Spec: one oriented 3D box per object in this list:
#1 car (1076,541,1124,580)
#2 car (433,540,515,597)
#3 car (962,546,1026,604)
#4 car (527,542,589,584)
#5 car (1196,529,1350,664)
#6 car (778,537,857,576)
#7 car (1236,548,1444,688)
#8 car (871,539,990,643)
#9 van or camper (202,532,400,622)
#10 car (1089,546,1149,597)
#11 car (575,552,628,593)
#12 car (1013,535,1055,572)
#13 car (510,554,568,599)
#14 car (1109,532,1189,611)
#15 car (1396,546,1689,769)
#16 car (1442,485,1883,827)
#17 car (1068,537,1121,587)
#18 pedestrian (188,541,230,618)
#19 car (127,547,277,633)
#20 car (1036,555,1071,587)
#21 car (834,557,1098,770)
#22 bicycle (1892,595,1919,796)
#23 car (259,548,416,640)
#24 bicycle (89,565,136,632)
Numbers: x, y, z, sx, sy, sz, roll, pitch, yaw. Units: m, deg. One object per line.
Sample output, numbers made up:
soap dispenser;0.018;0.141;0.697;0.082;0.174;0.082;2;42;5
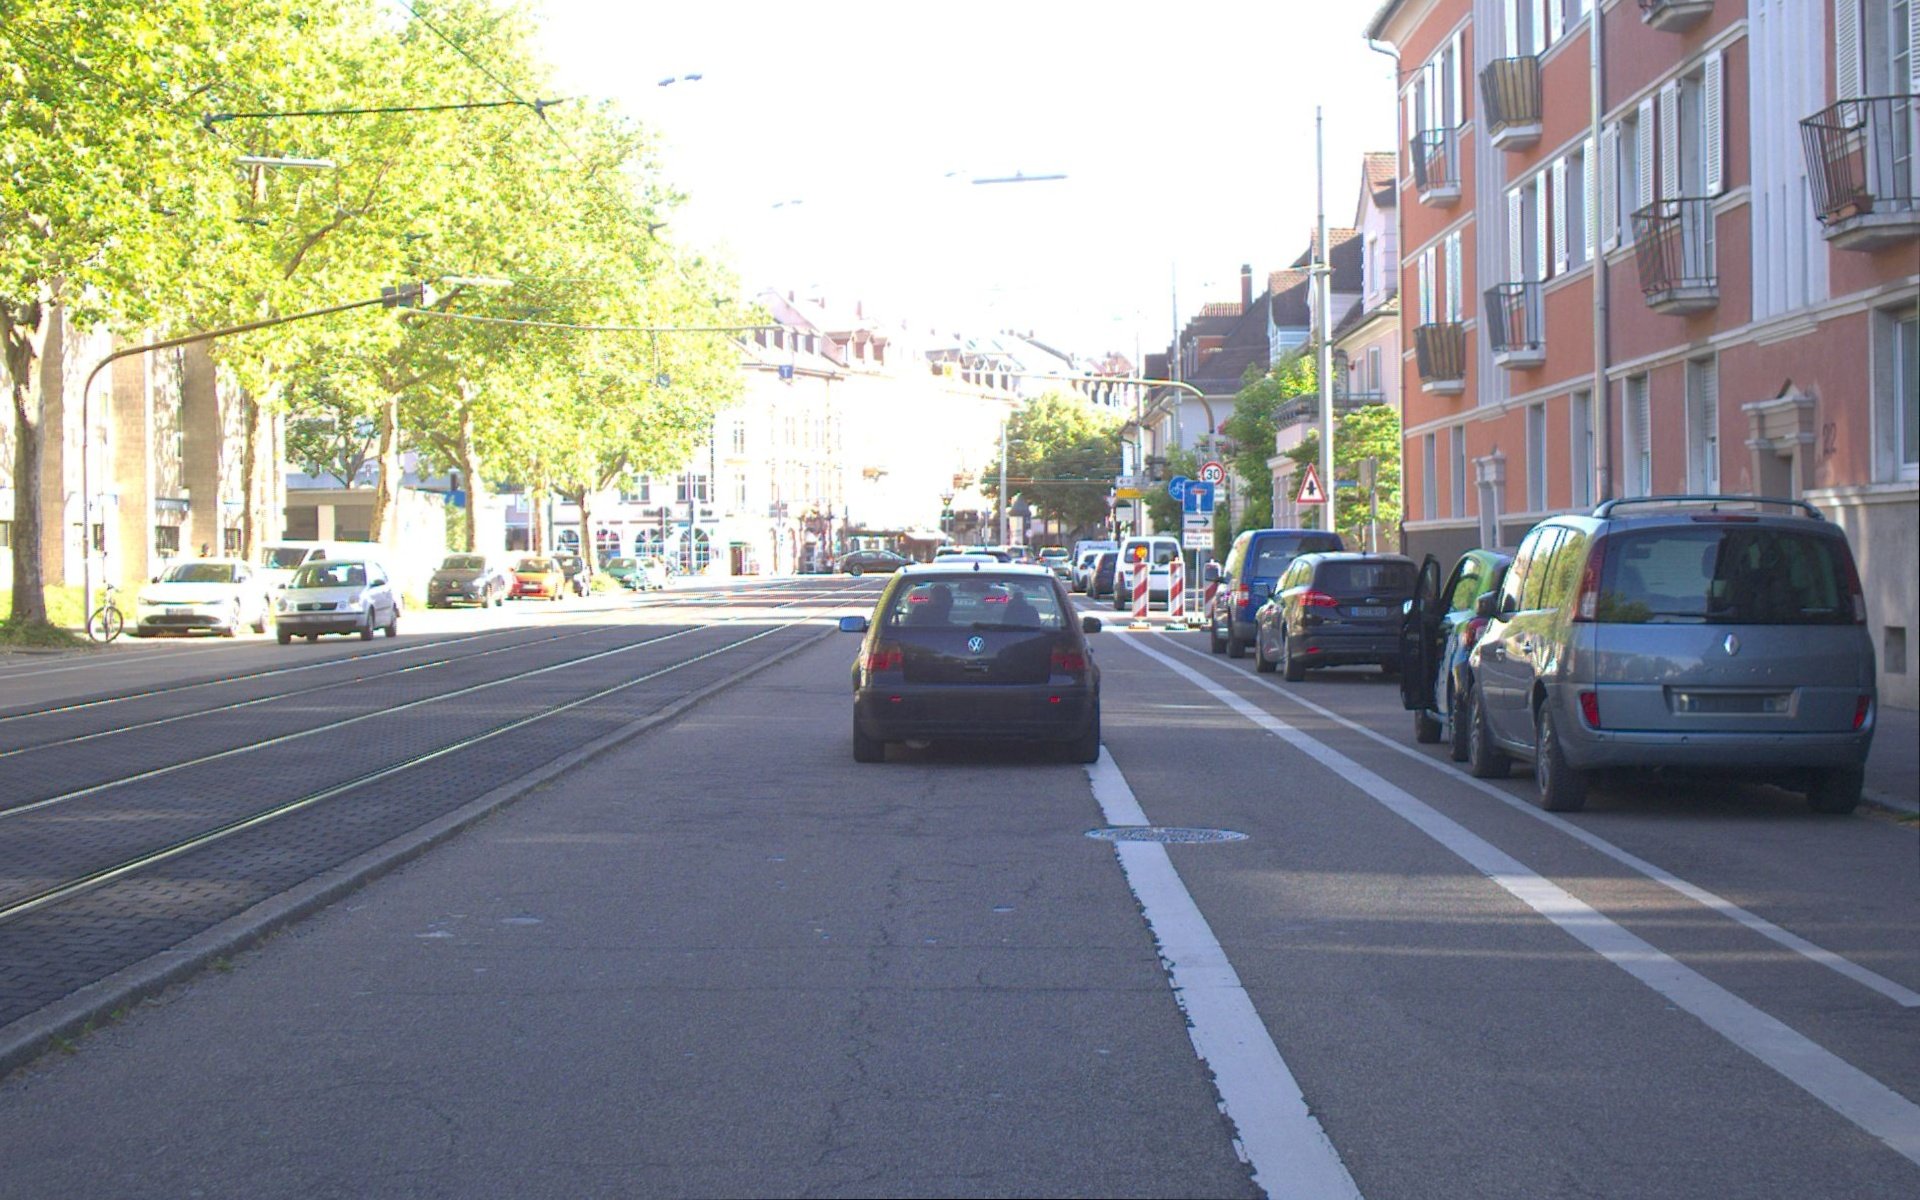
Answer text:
car;4.969;-1.417;122.175;1.580;1.370;4.000;0;1;0
car;-14.601;-0.958;103.423;1.888;1.660;4.000;0;1;0
car;0.884;-0.662;89.345;1.636;1.467;3.729;0;1;0
car;-15.069;-1.406;129.086;1.792;1.460;3.836;3;1;0
car;4.451;-0.080;49.412;1.702;1.804;4.272;2;1;-1
car;-7.804;-2.364;188.202;3.986;2.007;2.001;1;1;-11
car;4.438;0.171;40.800;1.753;1.506;4.763;2;1;-2
car;-0.426;-0.169;53.828;1.748;1.532;3.892;0;1;1
van or camper;-15.120;-0.539;79.195;2.062;1.943;5.184;2;1;20
car;4.820;-0.879;104.359;1.661;1.520;4.036;0;1;0
car;-15.483;-1.200;148.664;1.884;1.663;3.805;2;1;-1
car;2.971;-1.871;138.951;1.636;1.467;3.729;0;1;0
car;-14.671;-0.807;119.996;1.570;1.528;3.572;0;0;0
car;4.632;-0.718;84.599;1.759;1.831;3.548;2;1;0
car;4.297;0.373;25.842;1.631;1.506;3.716;2;1;2
car;4.174;0.265;21.187;1.753;1.849;4.816;1;1;1
car;4.959;-1.410;126.972;1.817;1.793;4.000;0;1;0
pedestrian;-17.787;-0.488;81.470;0.796;1.814;0.670;2;1;0
car;-15.126;-0.231;68.845;2.011;1.567;4.694;2;1;-1
car;4.569;-1.432;168.513;1.668;1.592;3.650;0;1;0
car;0.011;0.397;24.859;1.748;1.370;4.000;0;1;-1
bicycle;5.733;0.558;18.994;0.514;1.136;2.259;-2;1;0
car;-10.978;-0.121;60.845;1.753;1.513;4.071;-2;1;4
bicycle;-15.592;-0.033;63.271;0.581;1.205;1.654;-1;1;-6
